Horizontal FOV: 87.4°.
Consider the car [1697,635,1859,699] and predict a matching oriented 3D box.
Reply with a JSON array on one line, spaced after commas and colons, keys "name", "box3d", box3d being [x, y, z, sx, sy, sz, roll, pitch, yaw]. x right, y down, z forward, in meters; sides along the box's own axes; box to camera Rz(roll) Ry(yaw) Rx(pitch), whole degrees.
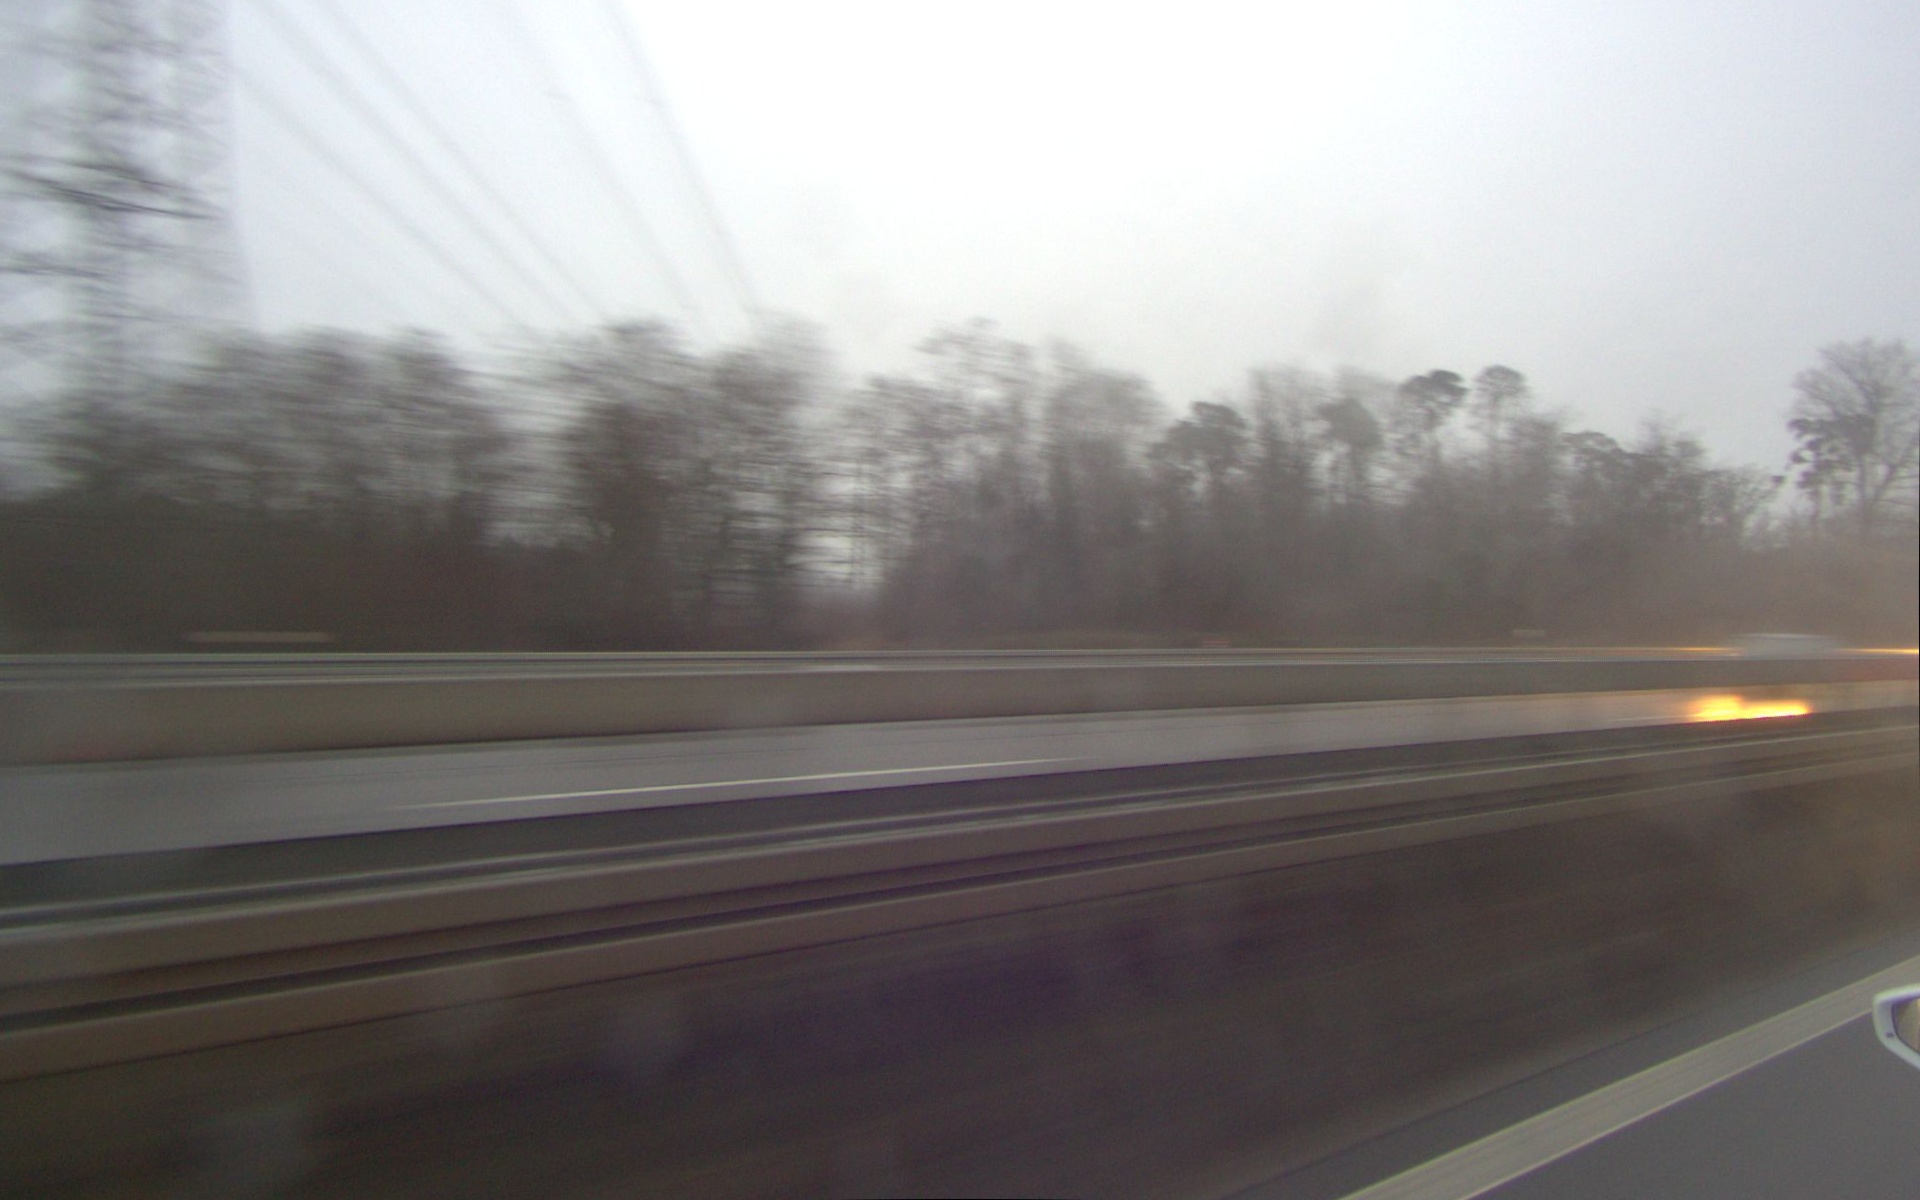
[{"name": "car", "box3d": [20.344, 1.608, 24.939, 4.359, 1.426, 1.747, 1, -1, -31]}]
